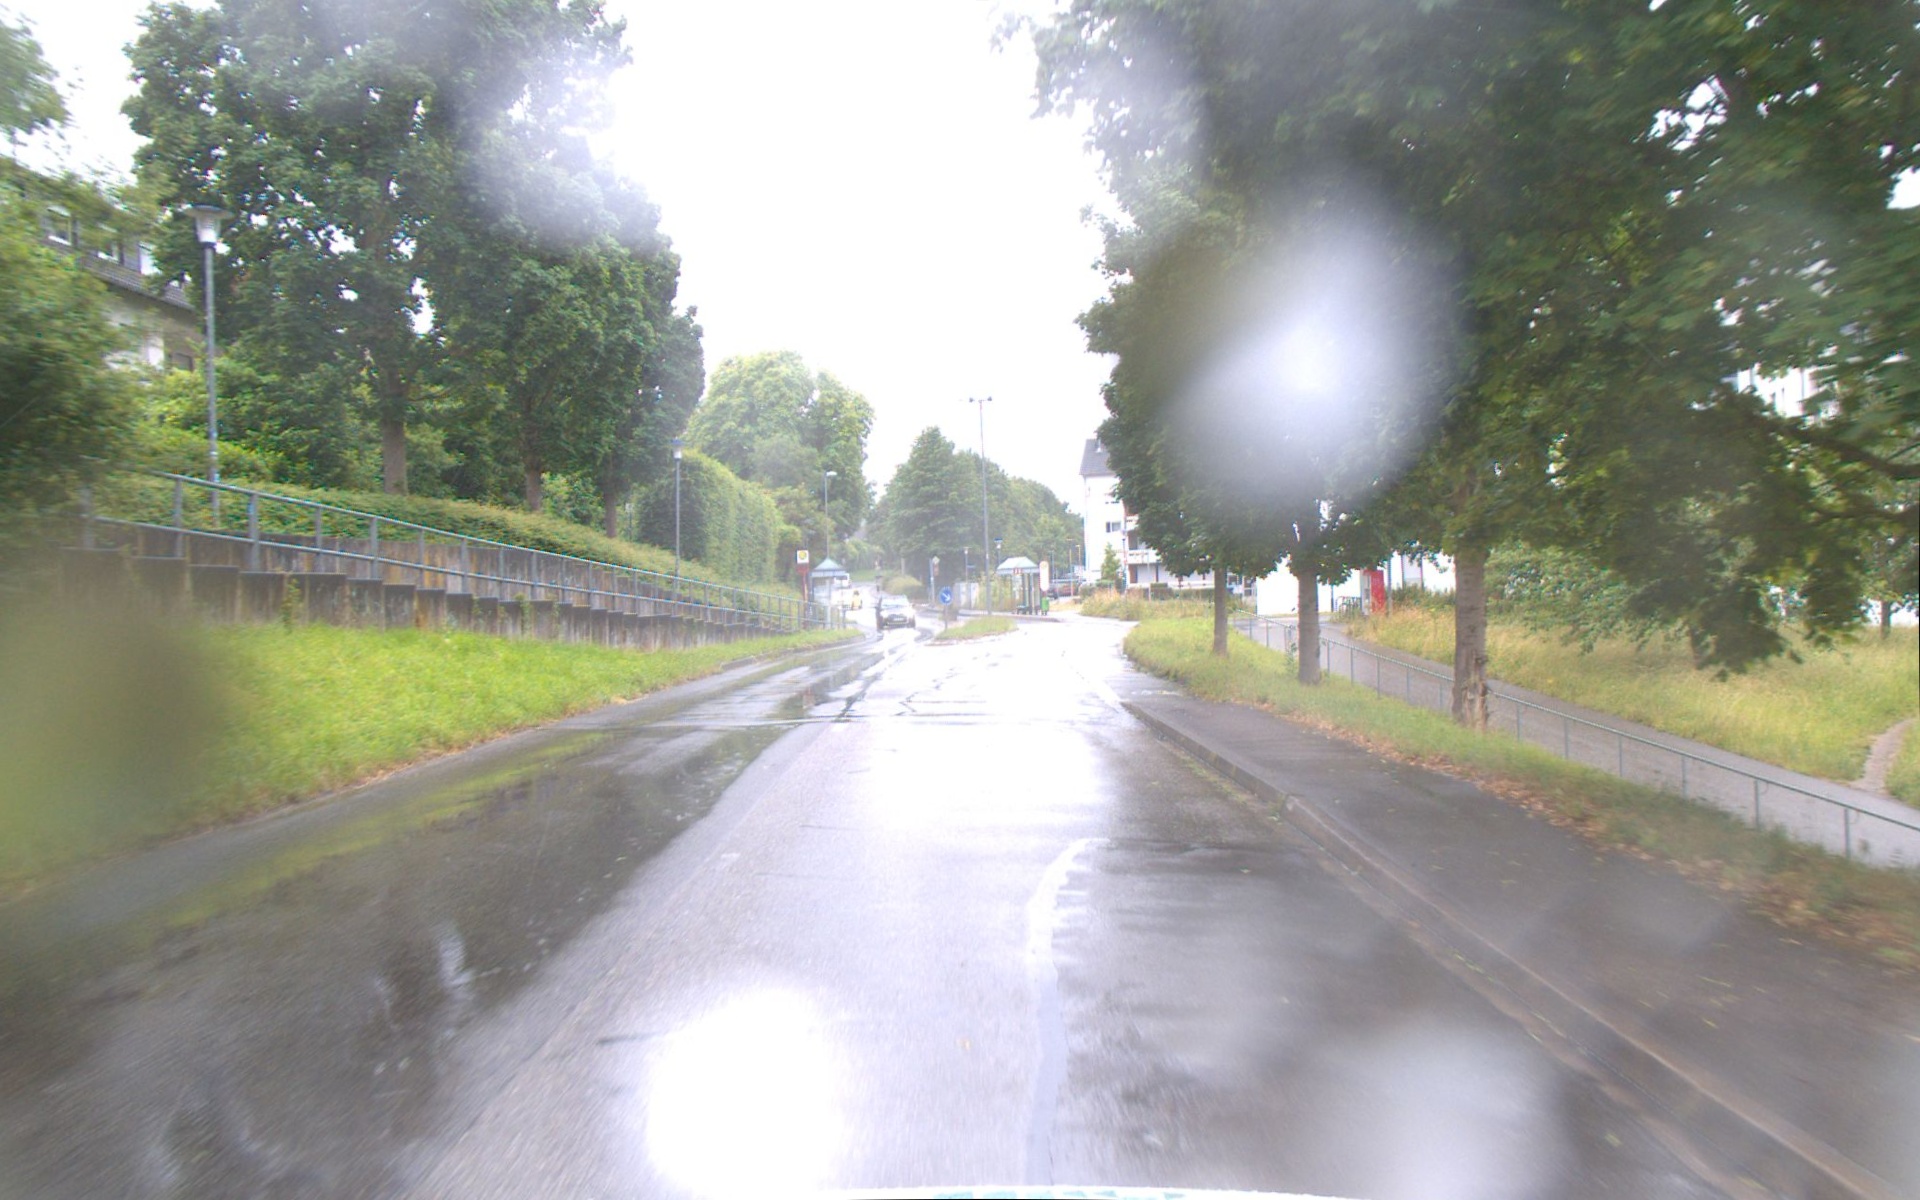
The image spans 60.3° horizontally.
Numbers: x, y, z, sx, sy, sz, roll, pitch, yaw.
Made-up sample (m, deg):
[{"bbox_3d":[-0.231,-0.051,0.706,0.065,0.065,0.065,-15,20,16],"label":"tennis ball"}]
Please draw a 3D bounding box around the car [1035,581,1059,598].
[{"bbox_3d":[8.175,-0.966,155.375,1.656,1.463,3.607,-2,2,-7],"label":"car"}]

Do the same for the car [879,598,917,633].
[{"bbox_3d":[-2.962,0.708,79.305,1.725,1.529,4.140,-3,0,-2],"label":"car"}]

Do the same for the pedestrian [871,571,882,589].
[{"bbox_3d":[-8.088,-1.924,160.503,0.902,1.704,1.056,-4,2,-7],"label":"pedestrian"}]

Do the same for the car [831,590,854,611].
[{"bbox_3d":[-8.863,-0.004,124.349,1.542,1.434,3.470,-4,1,-6],"label":"car"}]
